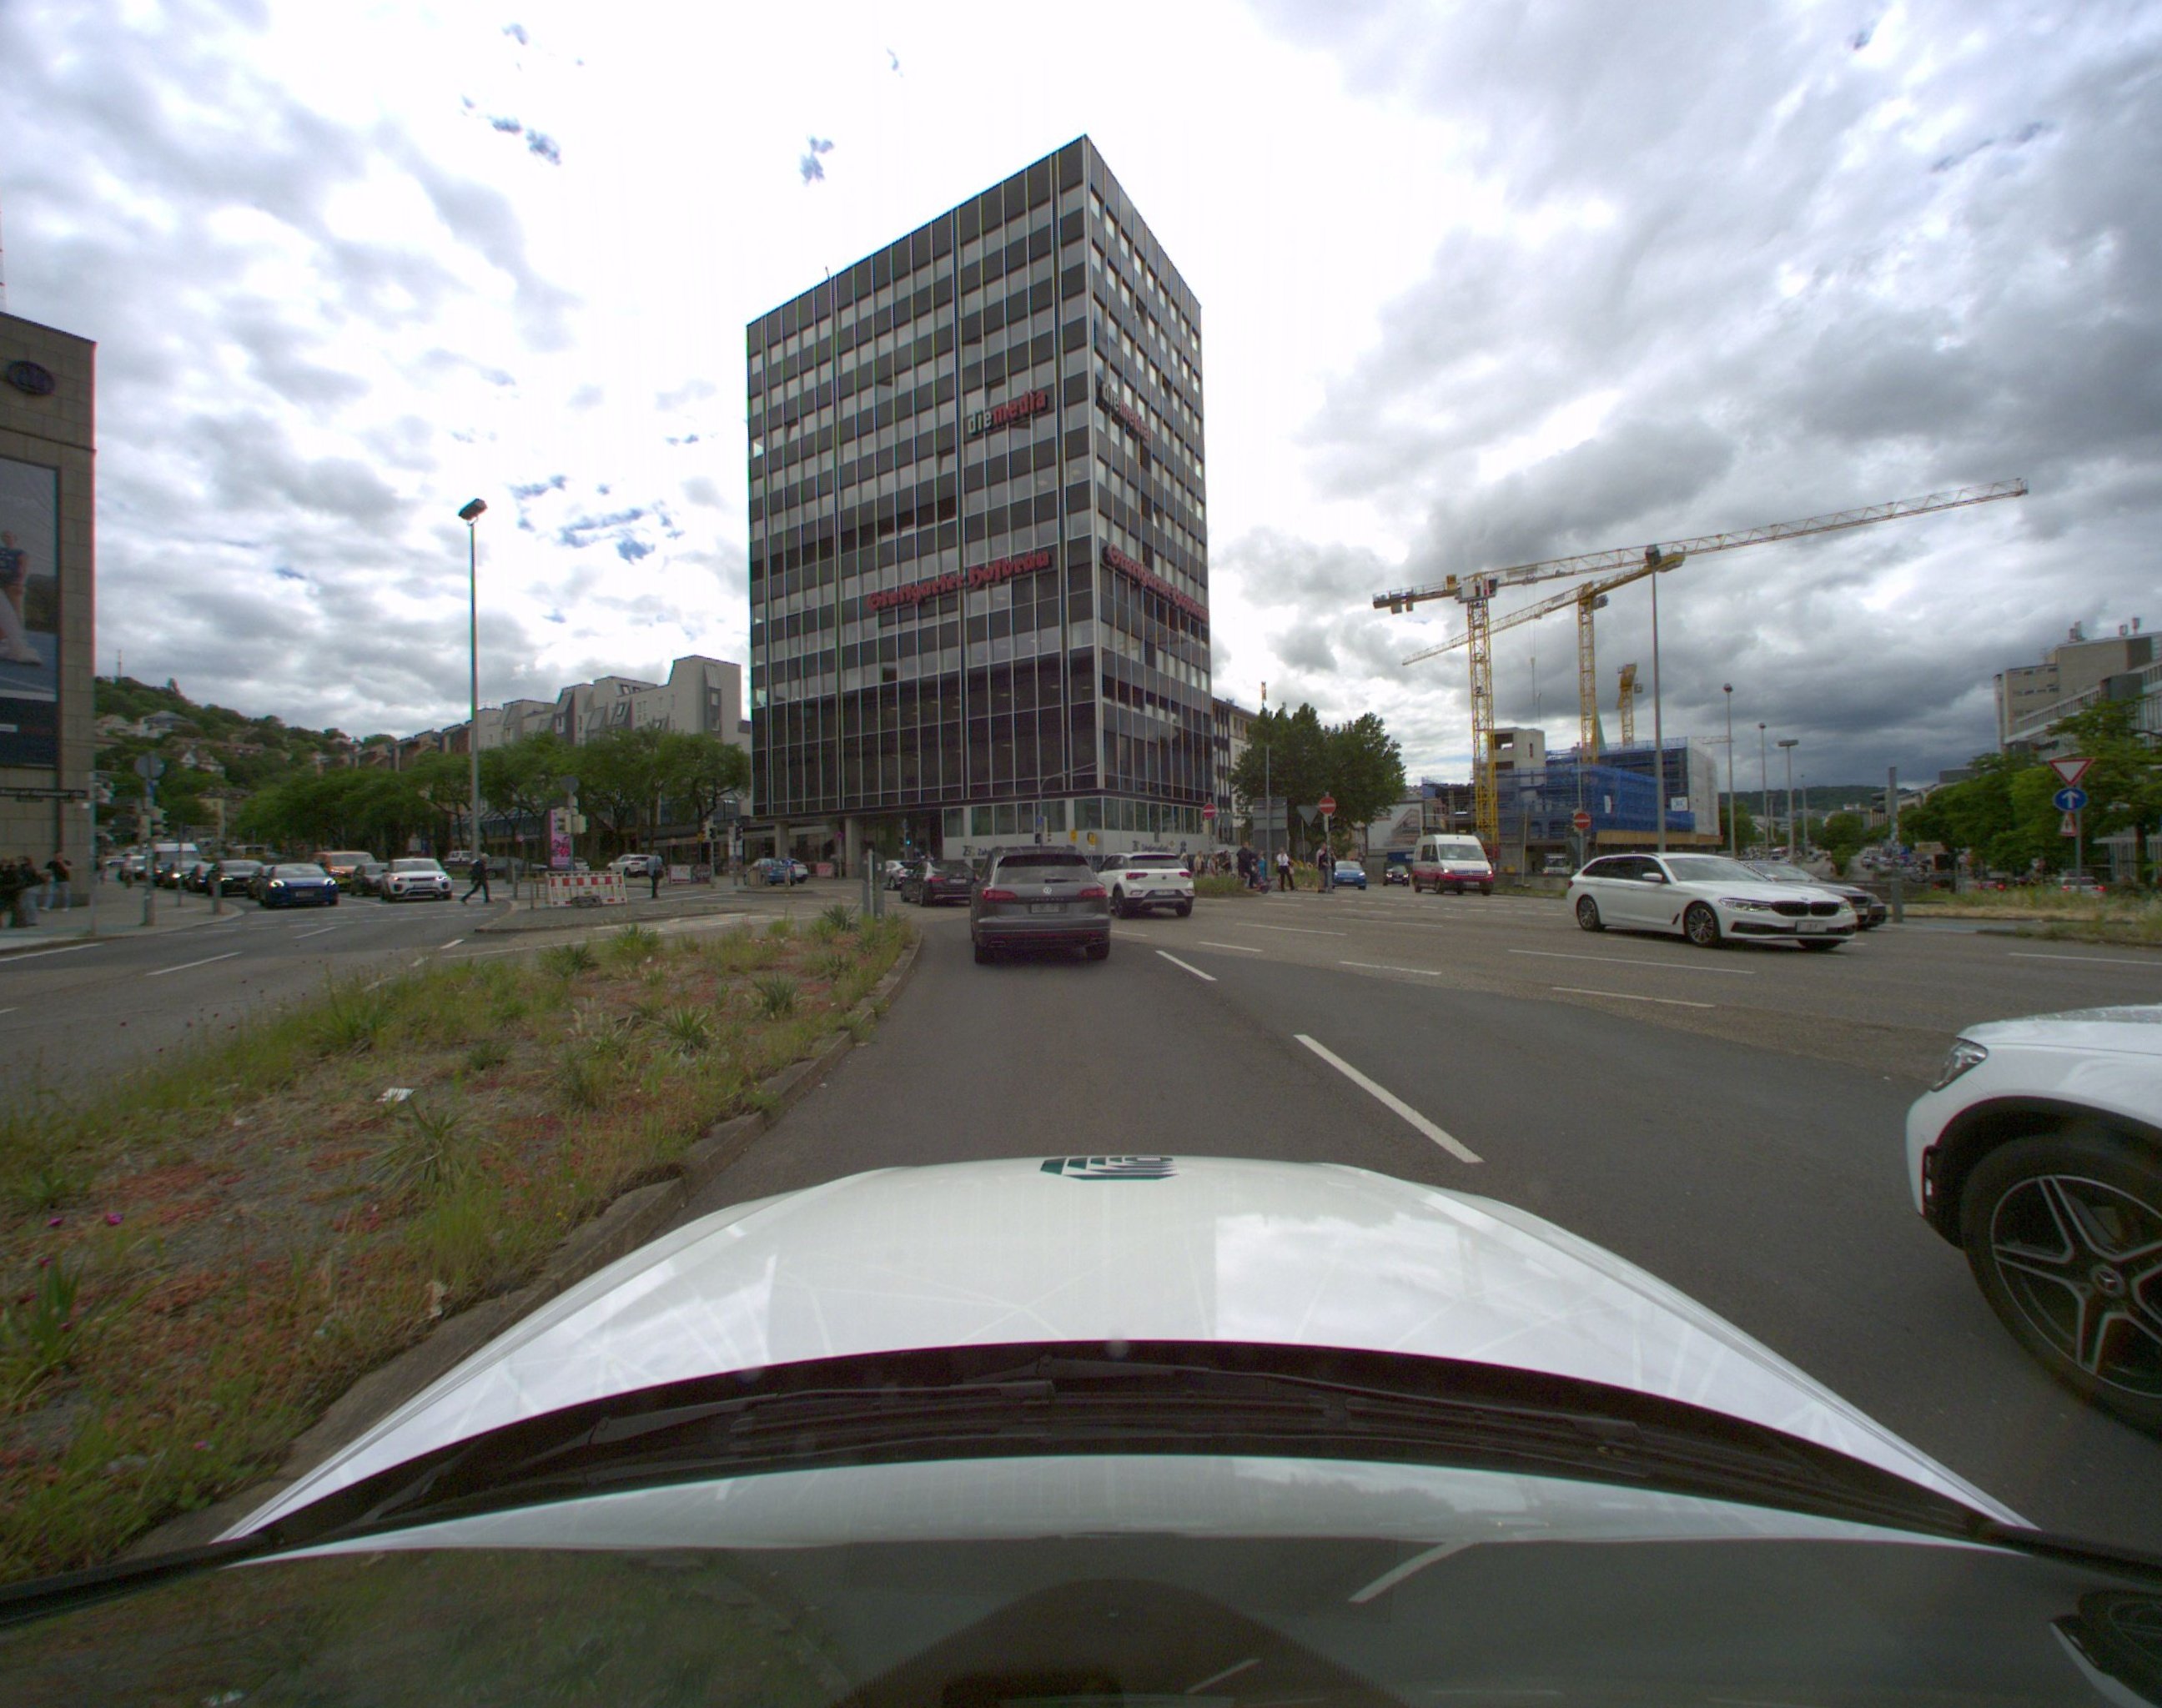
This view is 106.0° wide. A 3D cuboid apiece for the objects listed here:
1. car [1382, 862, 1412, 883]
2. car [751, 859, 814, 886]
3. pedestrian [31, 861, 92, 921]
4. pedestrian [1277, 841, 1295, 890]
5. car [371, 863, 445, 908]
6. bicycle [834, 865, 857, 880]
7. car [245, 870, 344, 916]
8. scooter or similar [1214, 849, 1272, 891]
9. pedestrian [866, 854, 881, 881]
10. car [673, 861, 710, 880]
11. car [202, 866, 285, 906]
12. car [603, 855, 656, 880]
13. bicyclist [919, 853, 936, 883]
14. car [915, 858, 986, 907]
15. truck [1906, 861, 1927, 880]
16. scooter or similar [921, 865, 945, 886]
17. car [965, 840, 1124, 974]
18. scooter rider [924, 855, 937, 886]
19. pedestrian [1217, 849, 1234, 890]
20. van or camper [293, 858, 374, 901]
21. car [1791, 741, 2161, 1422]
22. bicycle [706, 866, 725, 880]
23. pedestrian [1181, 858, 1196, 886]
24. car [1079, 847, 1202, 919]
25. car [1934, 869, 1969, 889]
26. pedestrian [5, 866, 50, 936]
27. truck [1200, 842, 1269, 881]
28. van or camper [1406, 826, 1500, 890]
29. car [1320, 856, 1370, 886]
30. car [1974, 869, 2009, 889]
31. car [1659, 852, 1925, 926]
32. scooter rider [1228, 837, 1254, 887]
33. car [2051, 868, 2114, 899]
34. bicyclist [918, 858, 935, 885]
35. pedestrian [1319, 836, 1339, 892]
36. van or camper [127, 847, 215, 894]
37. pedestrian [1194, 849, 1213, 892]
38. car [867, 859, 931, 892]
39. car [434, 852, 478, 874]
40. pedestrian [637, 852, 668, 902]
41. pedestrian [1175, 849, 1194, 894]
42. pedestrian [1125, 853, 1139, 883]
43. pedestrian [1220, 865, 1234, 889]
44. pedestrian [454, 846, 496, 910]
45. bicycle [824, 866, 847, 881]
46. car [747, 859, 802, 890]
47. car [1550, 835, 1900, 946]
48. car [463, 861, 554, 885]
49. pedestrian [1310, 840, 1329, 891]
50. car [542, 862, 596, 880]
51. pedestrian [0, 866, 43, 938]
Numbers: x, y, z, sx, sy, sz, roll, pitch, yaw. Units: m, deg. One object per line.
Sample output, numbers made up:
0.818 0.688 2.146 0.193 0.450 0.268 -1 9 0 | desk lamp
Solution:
22.871 1.310 59.102 1.817 1.466 4.019 -1 -1 18 | car
-17.753 1.083 48.407 3.718 1.517 1.850 -1 0 40 | car
-31.838 1.149 25.449 0.690 1.810 0.936 -1 0 12 | pedestrian
7.651 0.416 30.391 0.636 1.797 0.613 1 -1 13 | pedestrian
-26.178 1.190 31.630 4.264 1.598 1.750 -1 0 44 | car
-17.271 1.350 59.643 1.470 1.048 0.717 -1 -1 15 | bicycle
-28.498 1.364 29.485 4.038 1.525 2.013 -1 0 38 | car
5.597 0.562 28.146 1.866 1.407 0.781 -1 -1 20 | scooter or similar
-13.468 0.886 52.897 0.743 1.711 0.530 -3 0 31 | pedestrian
-33.111 1.379 69.195 1.876 1.574 3.954 -2 1 -39 | car
-39.146 1.438 38.044 4.622 1.645 2.013 0 2 36 | car
-30.474 0.893 54.931 3.718 1.567 1.850 -1 0 40 | car
-9.716 0.890 51.590 0.803 1.846 0.679 -1 0 30 | bicyclist
-4.224 0.859 25.899 1.836 1.395 4.127 1 0 -14 | car
114.483 2.183 111.618 4.023 2.452 1.975 -2 0 -44 | truck
-8.618 1.242 47.446 1.317 1.176 0.592 -2 0 -5 | scooter or similar
-0.763 0.673 12.818 1.970 1.695 4.210 -1 1 -10 | car
-8.752 0.955 47.432 0.640 1.808 0.592 -2 0 -5 | scooter rider
5.950 0.631 33.596 0.636 1.696 0.613 -1 -1 12 | pedestrian
-36.799 1.236 40.049 5.017 1.921 1.932 -1 1 36 | van or camper
3.458 0.542 0.813 1.795 1.646 4.336 -1 1 2 | car
-30.260 1.594 67.395 1.863 1.132 0.494 -1 -1 30 | bicycle
6.457 1.069 48.908 0.594 1.679 0.630 0 -1 -38 | pedestrian
1.362 0.631 20.212 1.801 1.545 3.914 -1 1 -16 | car
79.681 2.290 74.540 4.021 1.634 1.976 -2 1 -40 | car
-26.288 1.151 20.337 0.624 1.700 0.648 -1 -1 41 | pedestrian
12.956 0.623 68.249 2.315 3.064 8.251 -1 -1 36 | truck
15.547 0.165 34.436 2.127 2.477 6.178 0 0 10 | van or camper
13.951 0.842 43.262 1.930 1.483 4.641 1 0 10 | car
82.232 2.254 73.524 4.021 1.634 1.976 -2 1 -40 | car
14.348 0.658 16.852 1.747 1.333 4.413 0 -1 1 | car
5.534 0.268 28.171 0.737 1.694 0.770 -1 -1 21 | scooter rider
60.143 1.714 48.976 1.975 1.634 4.024 -1 1 45 | car
-9.240 1.044 48.646 0.839 1.549 0.567 -2 0 7 | bicyclist
8.854 0.356 29.057 0.636 1.955 0.613 -1 -1 16 | pedestrian
-55.816 1.001 49.907 6.165 2.726 3.031 -1 -1 36 | van or camper
5.293 0.712 35.153 0.695 1.815 0.672 -1 -1 15 | pedestrian
-8.742 0.997 38.916 1.845 1.432 4.107 1 0 -30 | car
-57.950 0.851 75.430 4.807 1.874 1.850 -1 0 35 | car
-16.045 0.842 30.491 0.626 1.790 0.722 0 4 36 | pedestrian
4.423 0.745 34.780 0.695 1.862 0.672 -1 -1 15 | pedestrian
2.984 0.812 47.288 0.630 1.748 0.594 -1 -1 20 | pedestrian
11.214 1.757 62.487 0.863 1.746 0.853 -1 -1 28 | pedestrian
-20.935 0.833 28.148 0.754 2.172 0.883 -1 0 18 | pedestrian
-17.767 1.431 58.969 1.470 1.048 0.717 -1 -1 15 | bicycle
-16.323 1.056 43.250 1.846 1.517 3.726 -2 0 -35 | car
10.230 0.541 13.629 1.986 1.504 5.041 0 -1 2 | car
-37.237 1.206 53.080 1.858 1.458 4.592 -1 -1 44 | car
8.941 0.432 30.510 0.636 1.910 0.613 -1 -1 13 | pedestrian
-43.652 1.477 69.431 4.278 1.418 2.075 -1 1 28 | car
-25.732 1.142 19.679 0.624 1.700 0.774 -1 -1 41 | pedestrian
